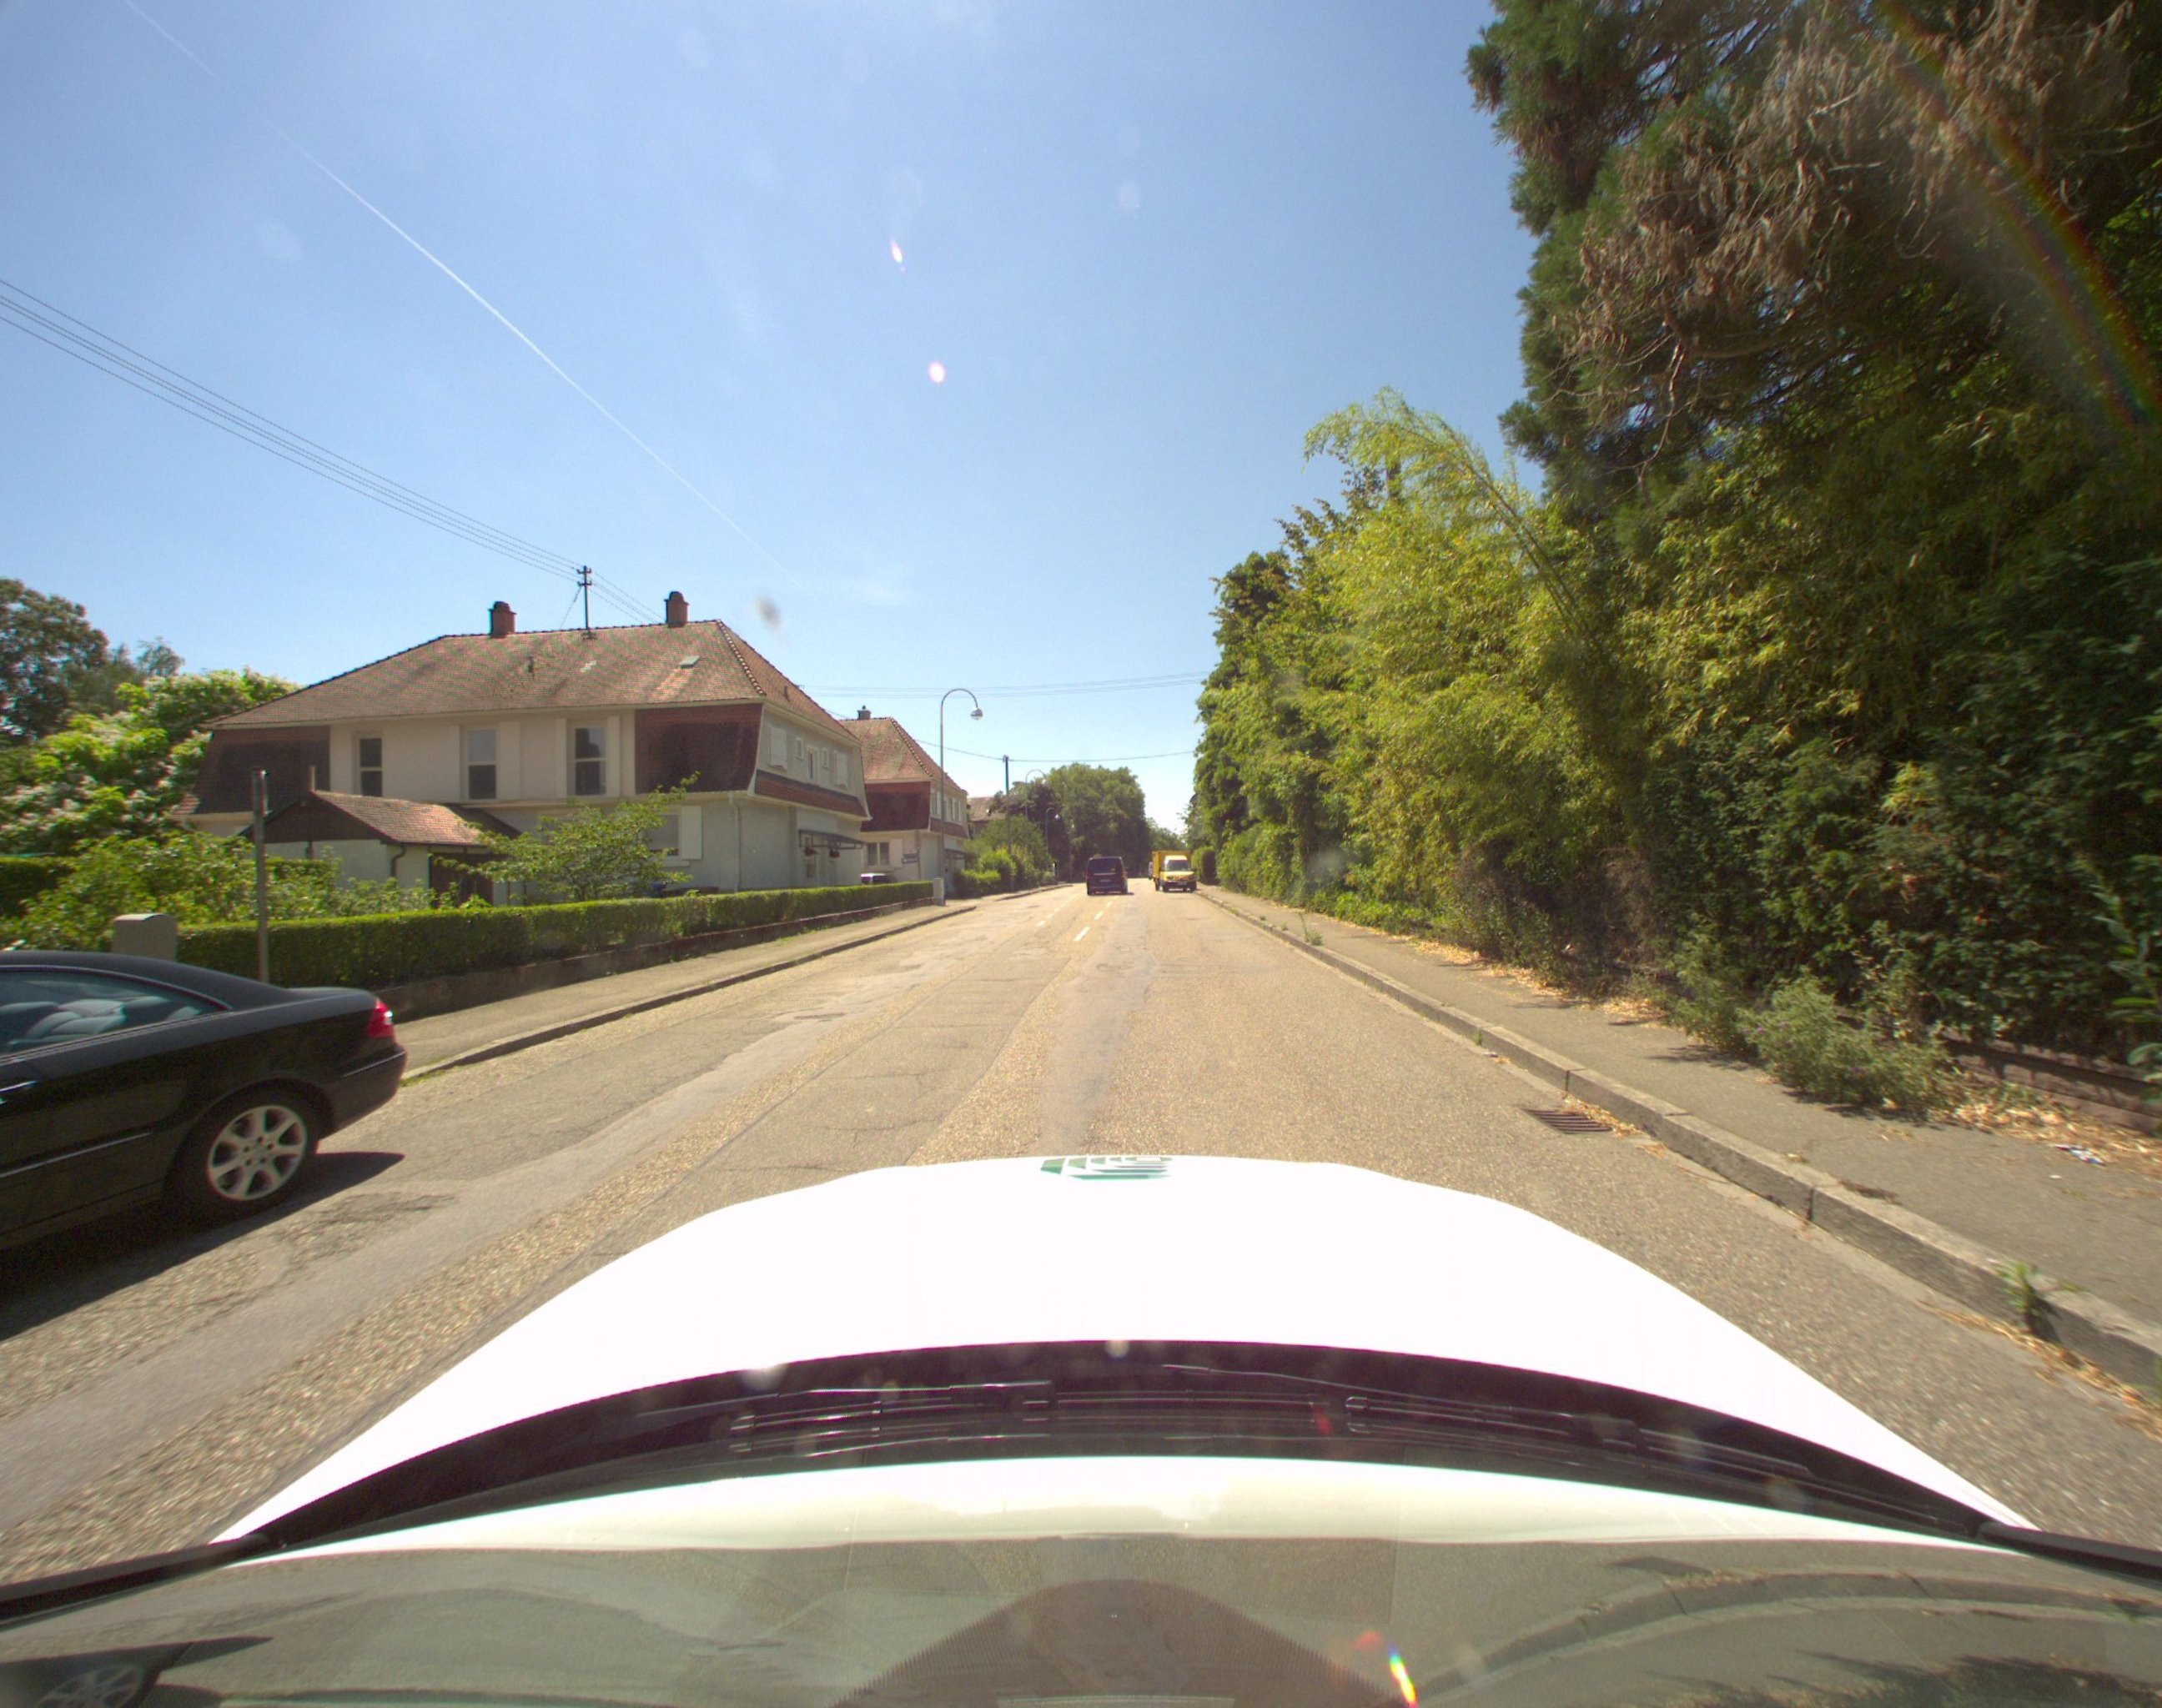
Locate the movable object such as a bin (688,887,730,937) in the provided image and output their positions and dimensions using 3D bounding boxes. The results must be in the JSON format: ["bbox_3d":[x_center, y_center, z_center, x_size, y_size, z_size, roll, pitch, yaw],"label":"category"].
[{"bbox_3d":[-10.402,1.618,22.780,0.687,1.322,0.920,-2,-1,1],"label":"movable object such as a bin"}]

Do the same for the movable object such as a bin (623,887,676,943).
[{"bbox_3d":[-12.058,1.682,22.789,0.874,1.473,1.009,-2,-1,1],"label":"movable object such as a bin"}]

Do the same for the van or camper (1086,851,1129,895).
[{"bbox_3d":[1.391,0.921,40.858,1.894,2.014,5.276,-1,-1,4],"label":"van or camper"}]

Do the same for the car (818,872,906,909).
[{"bbox_3d":[-11.130,1.865,41.542,3.851,1.641,1.881,-3,-1,3],"label":"car"}]

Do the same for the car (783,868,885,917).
[{"bbox_3d":[-10.898,1.692,36.109,3.851,1.905,1.881,-3,-1,3],"label":"car"}]

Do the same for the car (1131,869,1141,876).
[{"bbox_3d":[11.740,3.957,174.413,1.537,1.449,3.016,-2,-1,13],"label":"car"}]

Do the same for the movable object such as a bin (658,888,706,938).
[{"bbox_3d":[-11.177,1.649,22.840,0.816,1.322,0.920,-2,-1,1],"label":"movable object such as a bin"}]

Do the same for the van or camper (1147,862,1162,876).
[{"bbox_3d":[10.754,2.210,119.573,1.984,2.014,4.004,-2,-1,4],"label":"van or camper"}]

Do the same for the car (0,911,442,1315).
[{"bbox_3d":[-4.905,1.079,2.864,1.659,1.386,4.382,-4,-1,2],"label":"car"}]

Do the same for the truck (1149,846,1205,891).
[{"bbox_3d":[5.245,0.820,45.428,2.348,2.258,6.091,-2,-1,0],"label":"truck"}]
